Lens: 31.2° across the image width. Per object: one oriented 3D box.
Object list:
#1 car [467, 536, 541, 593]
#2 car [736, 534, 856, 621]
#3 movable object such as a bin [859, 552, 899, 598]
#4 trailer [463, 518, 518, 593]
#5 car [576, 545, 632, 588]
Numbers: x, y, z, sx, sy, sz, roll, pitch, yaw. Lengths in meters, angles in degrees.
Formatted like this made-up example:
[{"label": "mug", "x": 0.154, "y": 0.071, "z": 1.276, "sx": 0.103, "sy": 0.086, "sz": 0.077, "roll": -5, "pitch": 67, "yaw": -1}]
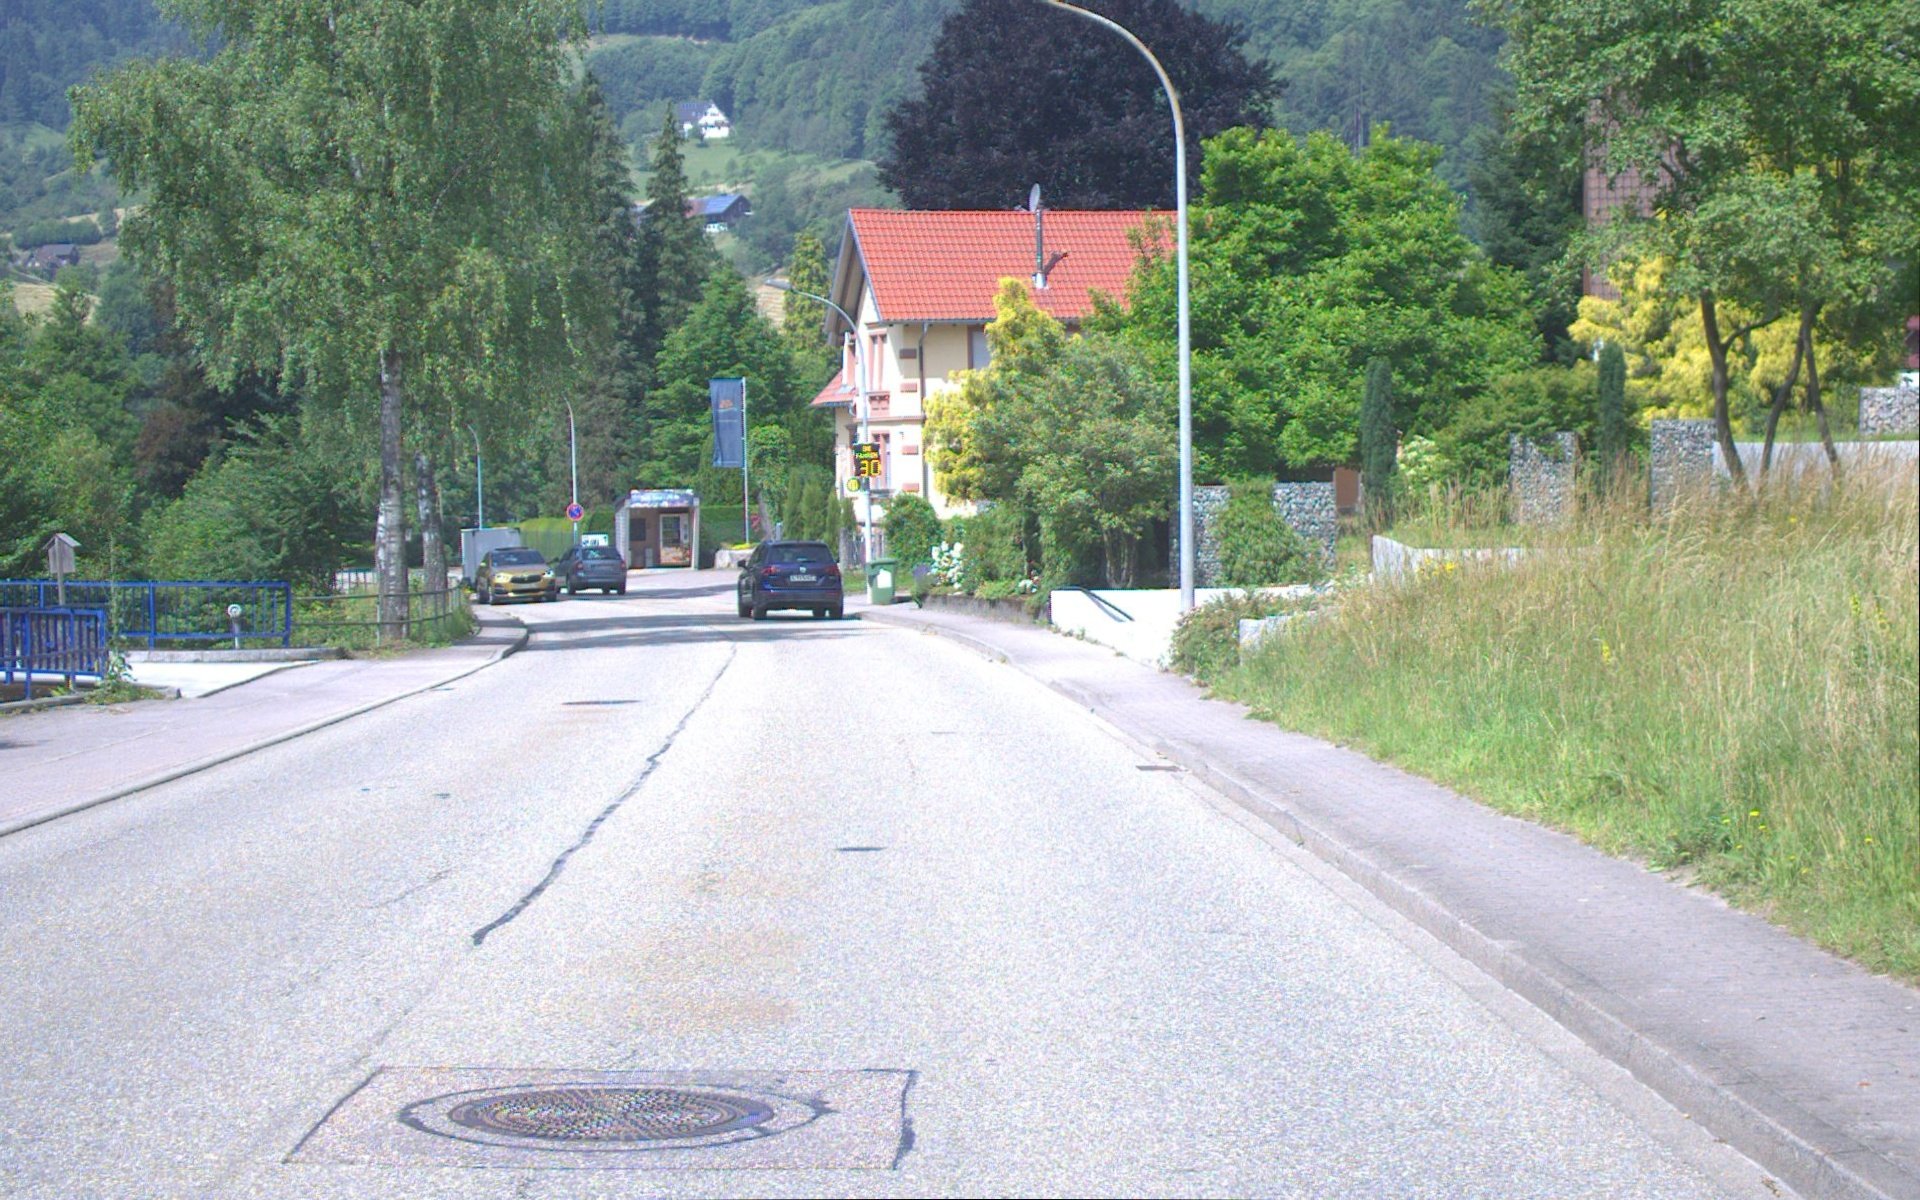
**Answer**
[{"label": "car", "x": -12.682, "y": -0.995, "z": 95.451, "sx": 1.813, "sy": 1.495, "sz": 4.150, "roll": -2, "pitch": 1, "yaw": -10}, {"label": "car", "x": -3.397, "y": -0.481, "z": 70.659, "sx": 1.919, "sy": 1.692, "sz": 3.789, "roll": -2, "pitch": 1, "yaw": -10}, {"label": "movable object such as a bin", "x": -1.873, "y": -0.576, "z": 79.134, "sx": 0.809, "sy": 1.039, "sz": 0.579, "roll": -2, "pitch": 2, "yaw": -10}, {"label": "trailer", "x": -13.596, "y": -1.300, "z": 99.489, "sx": 1.466, "sy": 2.070, "sz": 3.671, "roll": -2, "pitch": 1, "yaw": -8}, {"label": "car", "x": -10.732, "y": -1.017, "z": 103.759, "sx": 1.477, "sy": 1.205, "sz": 2.384, "roll": -2, "pitch": 1, "yaw": -2}]
